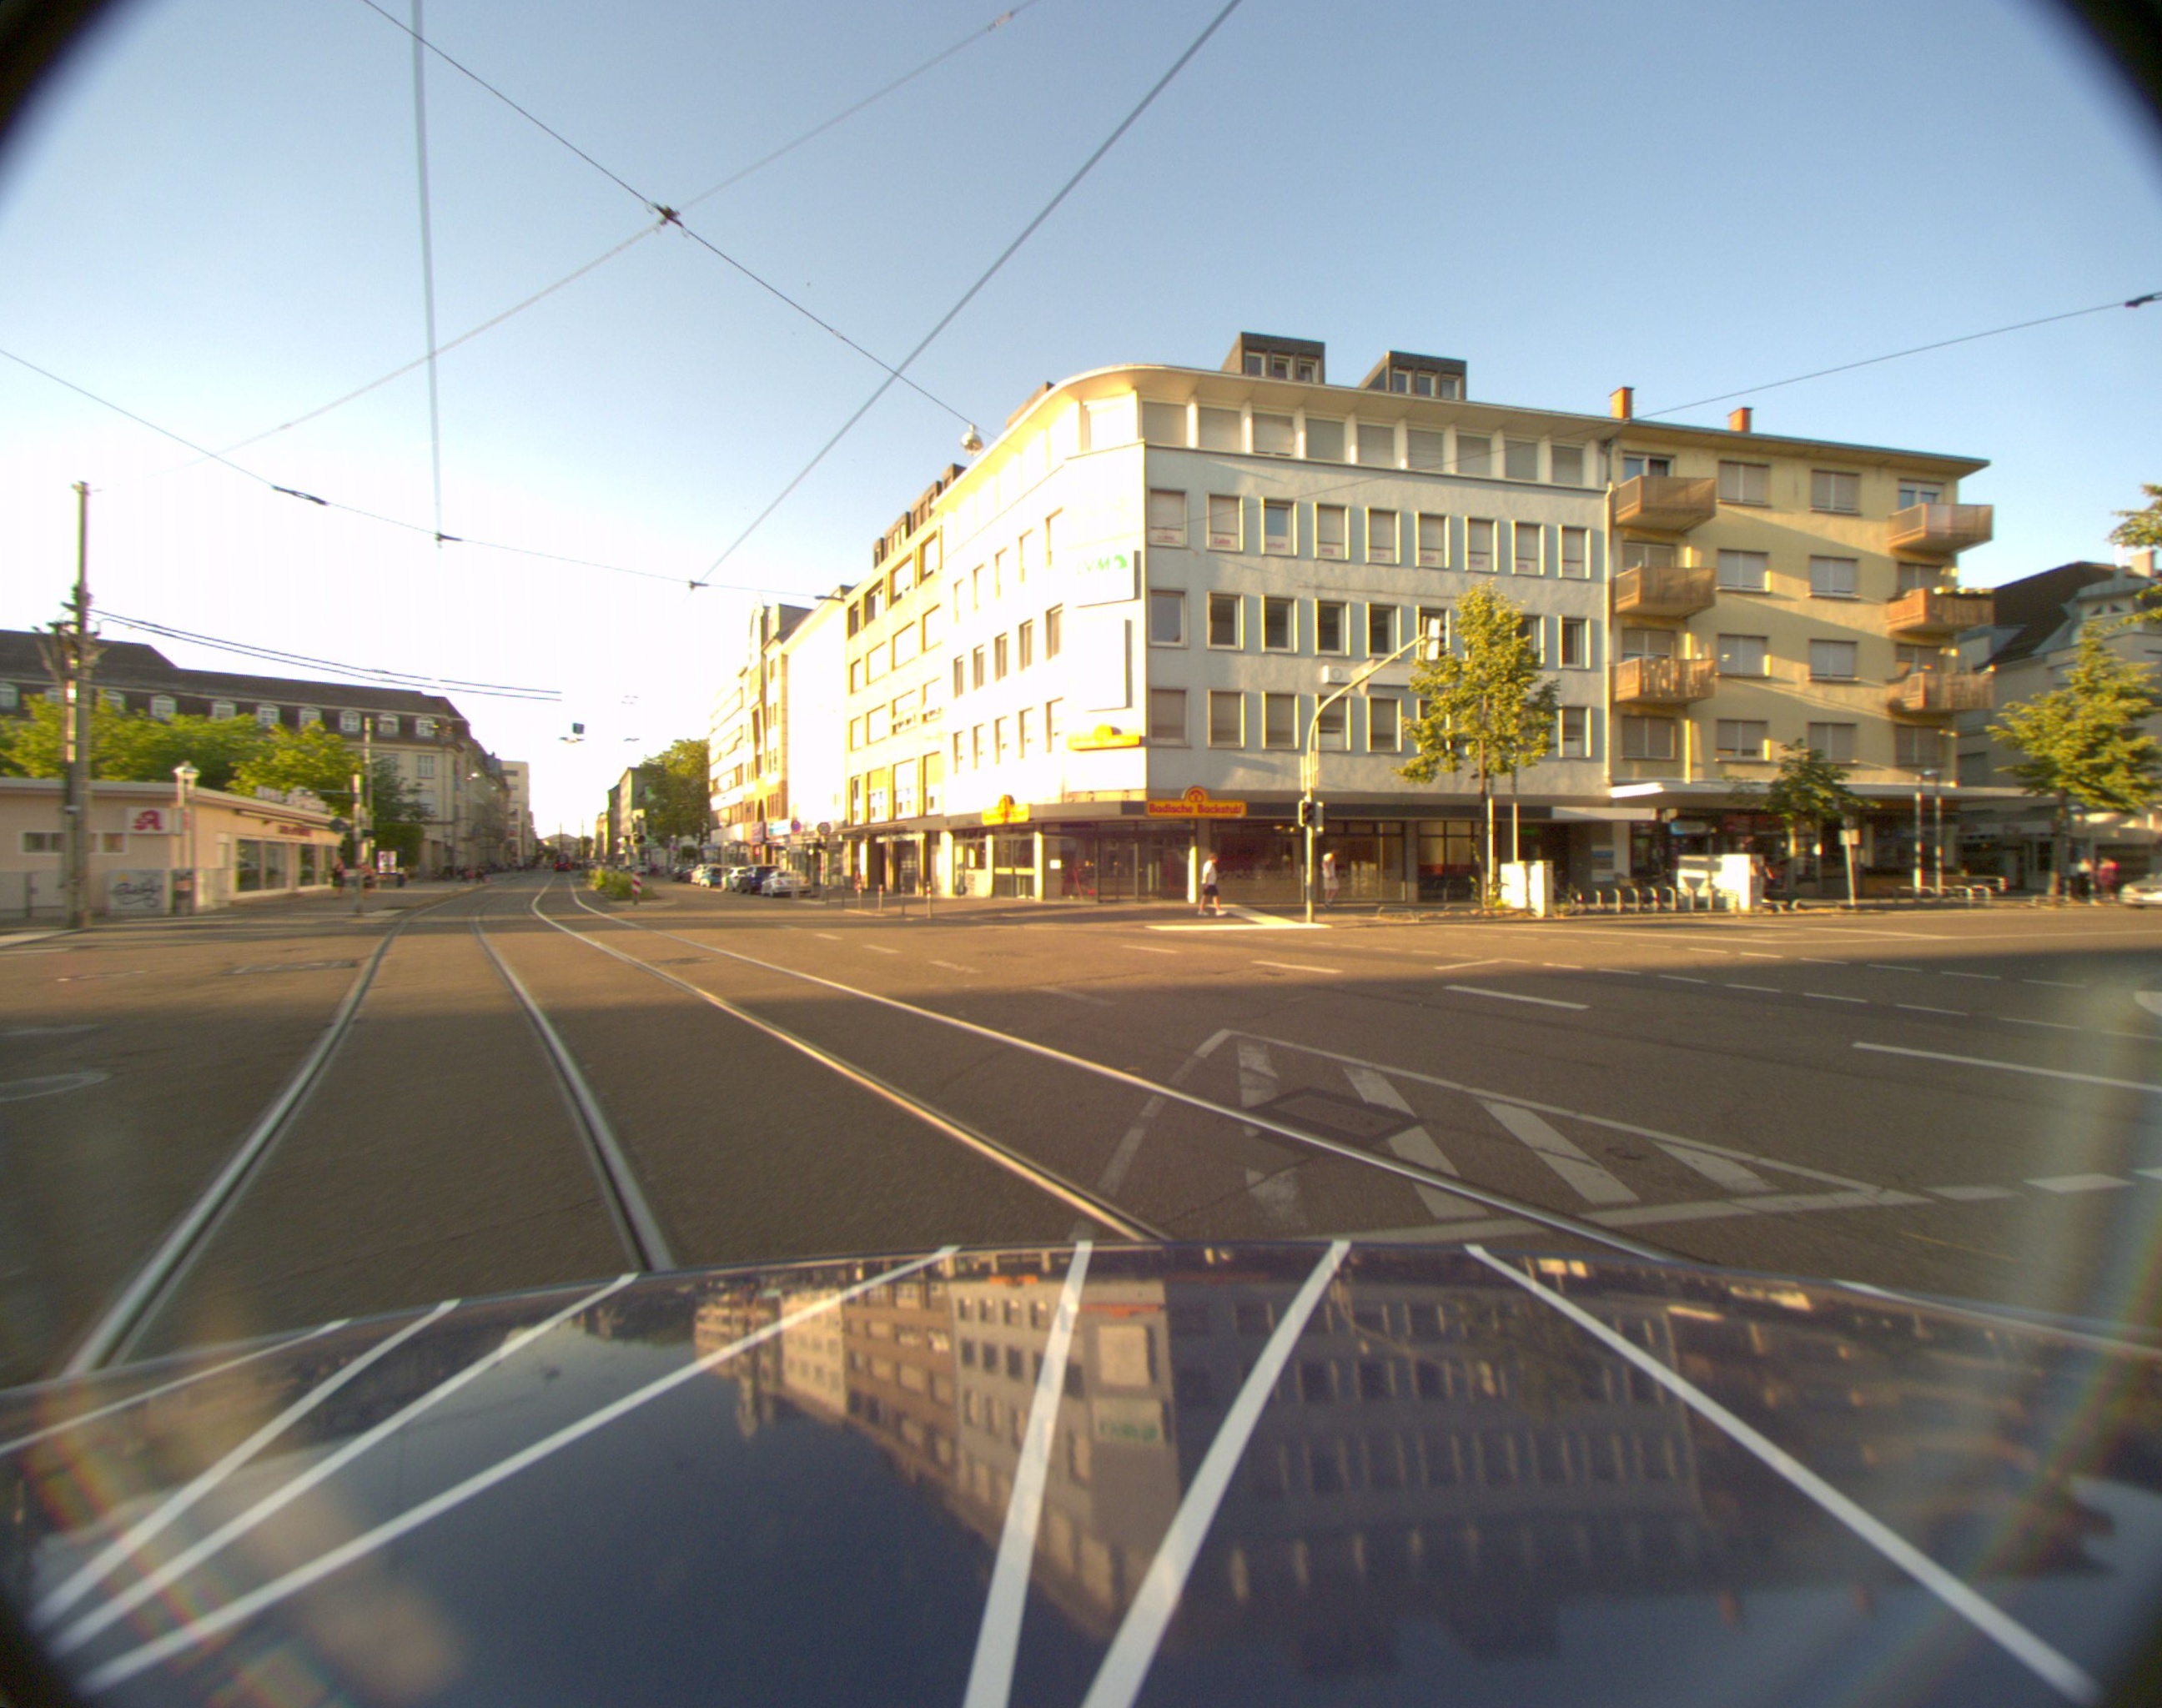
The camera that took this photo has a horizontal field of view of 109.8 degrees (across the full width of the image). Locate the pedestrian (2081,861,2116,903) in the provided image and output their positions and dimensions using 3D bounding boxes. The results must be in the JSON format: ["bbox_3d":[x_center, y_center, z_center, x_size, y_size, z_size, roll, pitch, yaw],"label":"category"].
[{"bbox_3d":[37.271,1.008,27.828,0.554,1.521,0.541,1,0,-5],"label":"pedestrian"}]

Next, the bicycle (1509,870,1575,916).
[{"bbox_3d":[12.801,1.055,21.164,0.470,1.196,1.917,0,0,-9],"label":"bicycle"}]

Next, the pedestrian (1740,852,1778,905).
[{"bbox_3d":[23.238,0.833,26.044,0.650,1.796,0.710,1,-2,-10],"label":"pedestrian"}]

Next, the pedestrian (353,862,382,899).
[{"bbox_3d":[-32.984,1.212,35.147,0.808,1.603,0.991,-2,2,-35],"label":"pedestrian"}]

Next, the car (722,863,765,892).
[{"bbox_3d":[-20.892,1.404,46.949,1.852,1.625,3.990,0,0,-32],"label":"car"}]

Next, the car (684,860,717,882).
[{"bbox_3d":[-28.771,1.253,57.397,1.852,1.625,3.990,0,0,-32],"label":"car"}]

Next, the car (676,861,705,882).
[{"bbox_3d":[-32.384,1.396,62.968,1.852,1.625,3.990,0,0,-32],"label":"car"}]

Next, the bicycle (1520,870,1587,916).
[{"bbox_3d":[13.260,1.066,21.402,0.470,1.196,1.917,0,0,-9],"label":"bicycle"}]

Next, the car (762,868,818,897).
[{"bbox_3d":[-14.519,1.365,37.780,1.852,1.287,3.990,0,0,-32],"label":"car"}]

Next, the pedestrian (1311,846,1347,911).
[{"bbox_3d":[7.392,0.703,22.658,0.992,1.876,0.807,0,2,18],"label":"pedestrian"}]

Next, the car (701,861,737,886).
[{"bbox_3d":[-25.359,1.329,53.194,1.852,1.625,3.990,0,0,-32],"label":"car"}]

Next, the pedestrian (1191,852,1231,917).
[{"bbox_3d":[3.579,0.810,20.867,0.992,1.716,0.807,0,2,18],"label":"pedestrian"}]

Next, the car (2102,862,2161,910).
[{"bbox_3d":[32.819,0.935,22.190,4.553,1.369,1.805,0,-2,-12],"label":"car"}]

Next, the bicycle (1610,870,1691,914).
[{"bbox_3d":[16.458,1.074,22.008,0.470,1.196,1.915,0,0,-21],"label":"bicycle"}]

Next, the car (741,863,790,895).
[{"bbox_3d":[-17.282,1.318,41.475,1.852,1.625,3.990,0,0,-32],"label":"car"}]

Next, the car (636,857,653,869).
[{"bbox_3d":[-61.426,1.252,106.898,1.852,1.625,3.990,0,0,-32],"label":"car"}]

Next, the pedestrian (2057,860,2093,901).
[{"bbox_3d":[37.288,0.997,28.507,0.650,1.521,0.541,0,0,-5],"label":"pedestrian"}]

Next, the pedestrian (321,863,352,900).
[{"bbox_3d":[-33.771,1.217,34.494,0.808,1.603,0.991,-2,2,-35],"label":"pedestrian"}]
